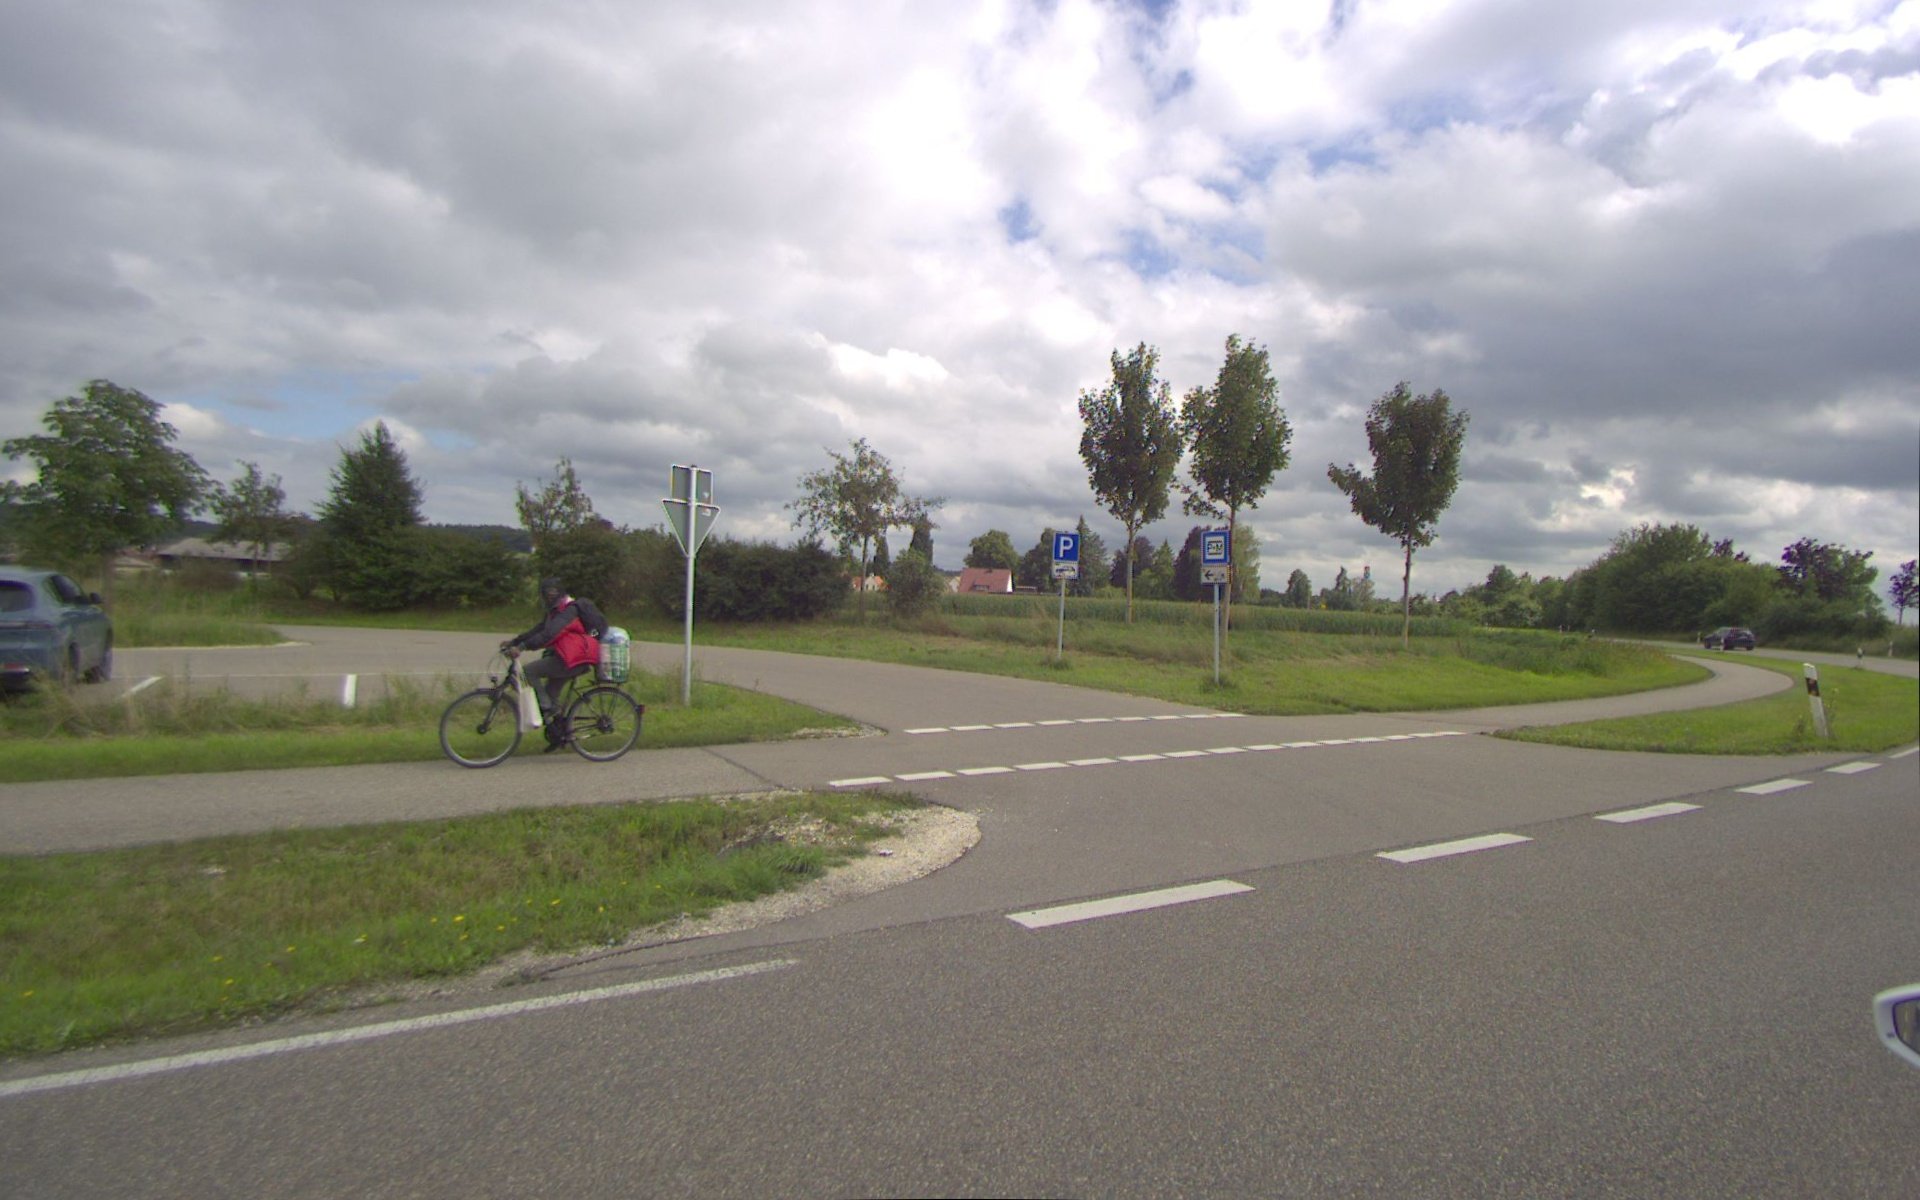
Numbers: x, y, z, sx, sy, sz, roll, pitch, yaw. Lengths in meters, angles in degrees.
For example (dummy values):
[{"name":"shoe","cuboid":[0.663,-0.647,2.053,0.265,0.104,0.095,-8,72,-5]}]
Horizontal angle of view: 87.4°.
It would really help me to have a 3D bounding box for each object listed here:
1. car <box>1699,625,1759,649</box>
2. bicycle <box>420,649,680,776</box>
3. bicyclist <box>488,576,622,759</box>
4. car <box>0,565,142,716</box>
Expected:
[{"name":"car","cuboid":[58.557,2.793,76.558,1.874,1.688,4.002,2,0,8]},{"name":"bicycle","cuboid":[-3.781,1.000,9.345,2.165,1.046,0.632,2,1,-30]},{"name":"bicyclist","cuboid":[-3.764,0.589,9.308,1.042,1.587,0.827,2,1,-28]},{"name":"car","cuboid":[-11.828,0.387,12.455,1.977,1.616,4.225,2,1,-31]}]
